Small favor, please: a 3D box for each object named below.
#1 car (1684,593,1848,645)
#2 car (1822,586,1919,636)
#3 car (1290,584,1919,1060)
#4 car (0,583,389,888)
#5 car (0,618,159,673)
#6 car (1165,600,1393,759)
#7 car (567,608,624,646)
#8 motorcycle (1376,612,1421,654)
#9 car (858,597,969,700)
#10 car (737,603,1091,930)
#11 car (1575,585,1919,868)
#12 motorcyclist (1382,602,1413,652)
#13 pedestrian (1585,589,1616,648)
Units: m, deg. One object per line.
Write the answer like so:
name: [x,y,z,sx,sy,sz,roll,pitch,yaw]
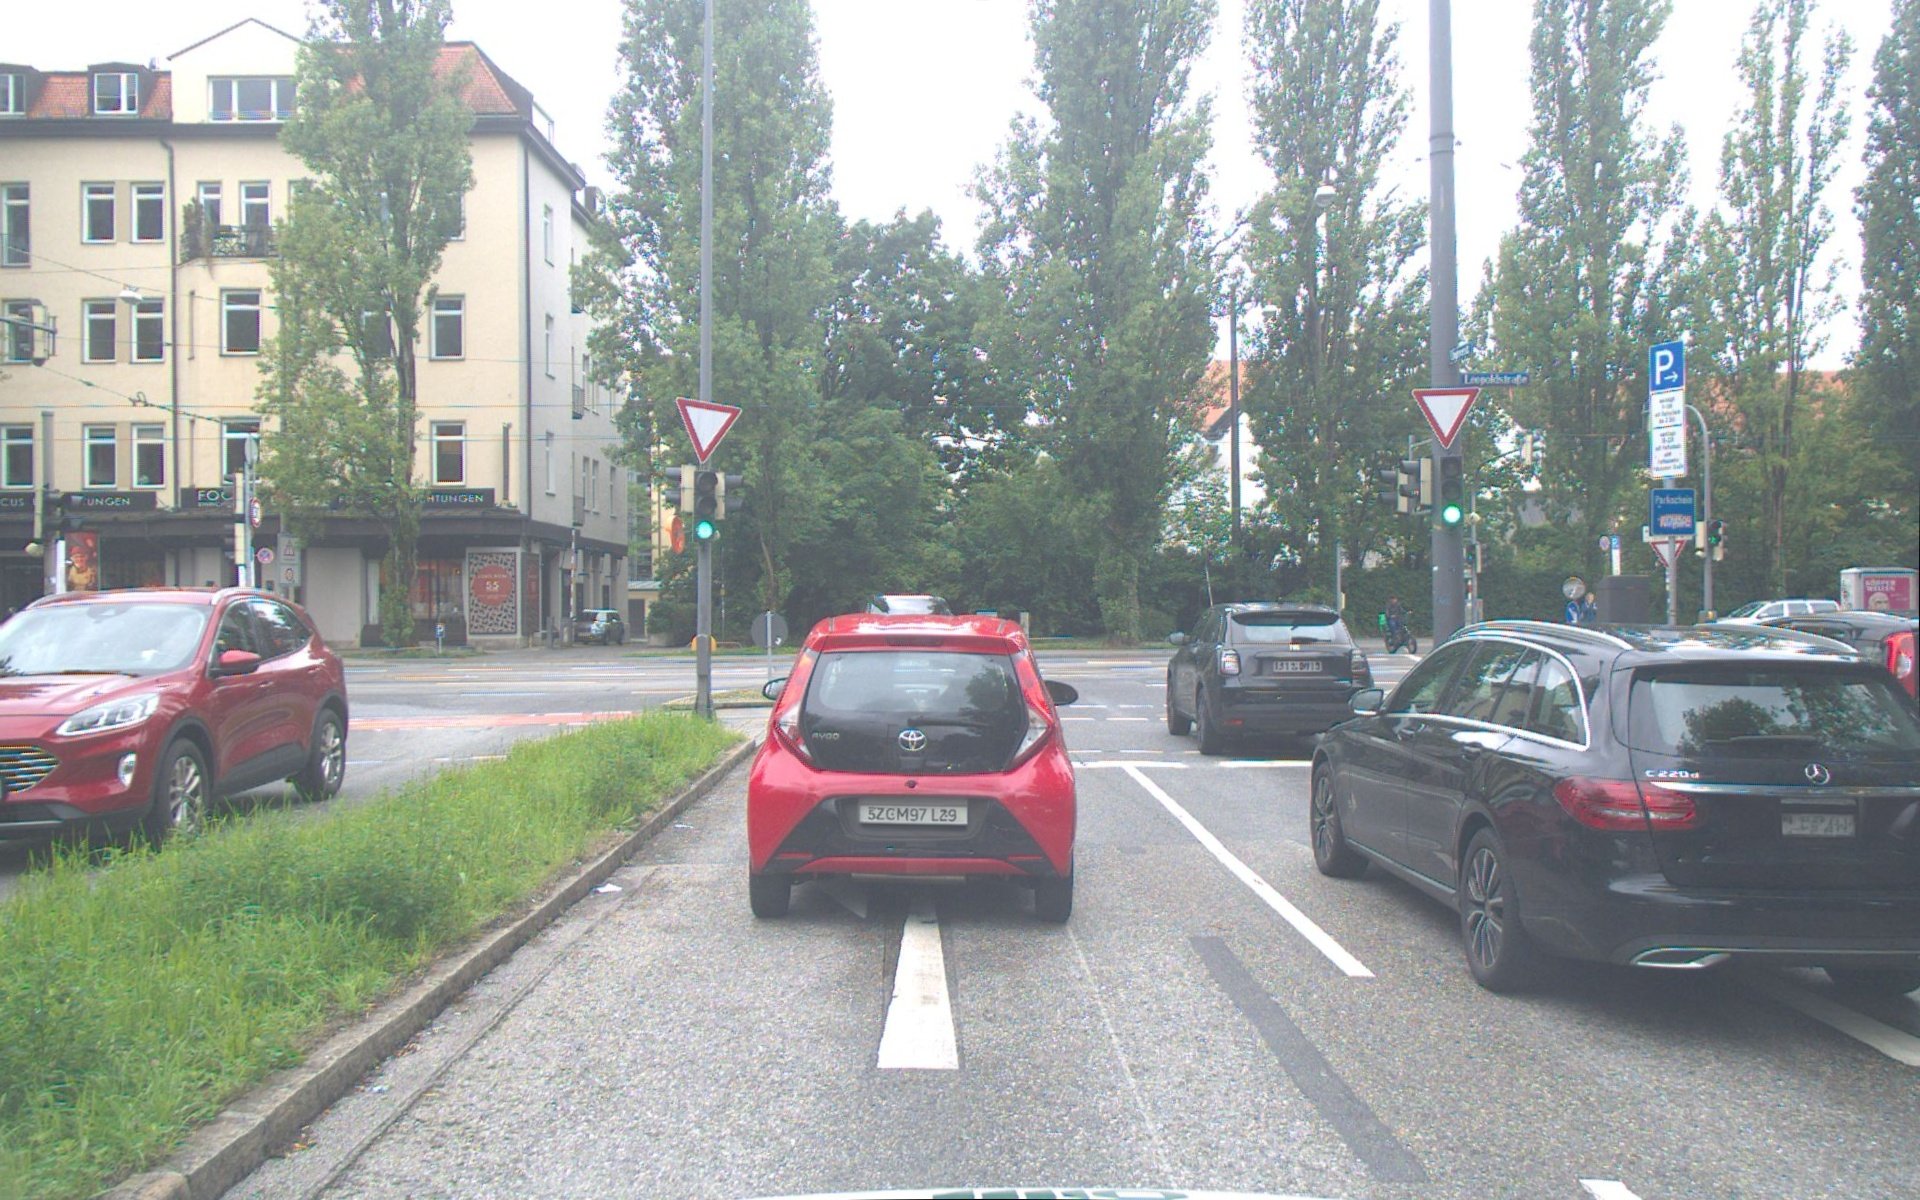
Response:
car: [25.195,0.596,51.783,4.251,1.512,1.786,-1,-1,-3]
car: [29.984,0.331,52.641,4.160,1.512,1.786,-1,-1,-3]
car: [2.989,0.759,7.909,1.825,1.576,4.703,1,0,-1]
car: [-5.841,0.753,11.725,2.061,1.666,4.937,-1,1,-3]
car: [-25.543,1.309,47.774,3.909,1.492,1.803,-1,-1,-5]
car: [3.329,0.787,17.989,1.744,1.512,4.000,-1,-1,1]
car: [-14.959,1.091,68.019,1.691,1.467,3.996,-1,0,-4]
motorcycle: [12.959,0.967,48.969,0.616,1.190,2.027,1,-1,-6]
car: [-0.706,0.760,27.908,1.700,1.576,4.576,-1,0,0]
car: [-0.196,0.762,9.225,1.595,1.465,3.376,-1,0,0]
car: [6.027,0.700,11.514,1.793,1.576,4.554,-1,0,0]
motorcyclist: [12.951,0.804,49.009,0.607,1.468,0.880,1,-1,-6]
pedestrian: [18.381,0.530,47.499,0.689,1.692,0.549,0,-2,39]
